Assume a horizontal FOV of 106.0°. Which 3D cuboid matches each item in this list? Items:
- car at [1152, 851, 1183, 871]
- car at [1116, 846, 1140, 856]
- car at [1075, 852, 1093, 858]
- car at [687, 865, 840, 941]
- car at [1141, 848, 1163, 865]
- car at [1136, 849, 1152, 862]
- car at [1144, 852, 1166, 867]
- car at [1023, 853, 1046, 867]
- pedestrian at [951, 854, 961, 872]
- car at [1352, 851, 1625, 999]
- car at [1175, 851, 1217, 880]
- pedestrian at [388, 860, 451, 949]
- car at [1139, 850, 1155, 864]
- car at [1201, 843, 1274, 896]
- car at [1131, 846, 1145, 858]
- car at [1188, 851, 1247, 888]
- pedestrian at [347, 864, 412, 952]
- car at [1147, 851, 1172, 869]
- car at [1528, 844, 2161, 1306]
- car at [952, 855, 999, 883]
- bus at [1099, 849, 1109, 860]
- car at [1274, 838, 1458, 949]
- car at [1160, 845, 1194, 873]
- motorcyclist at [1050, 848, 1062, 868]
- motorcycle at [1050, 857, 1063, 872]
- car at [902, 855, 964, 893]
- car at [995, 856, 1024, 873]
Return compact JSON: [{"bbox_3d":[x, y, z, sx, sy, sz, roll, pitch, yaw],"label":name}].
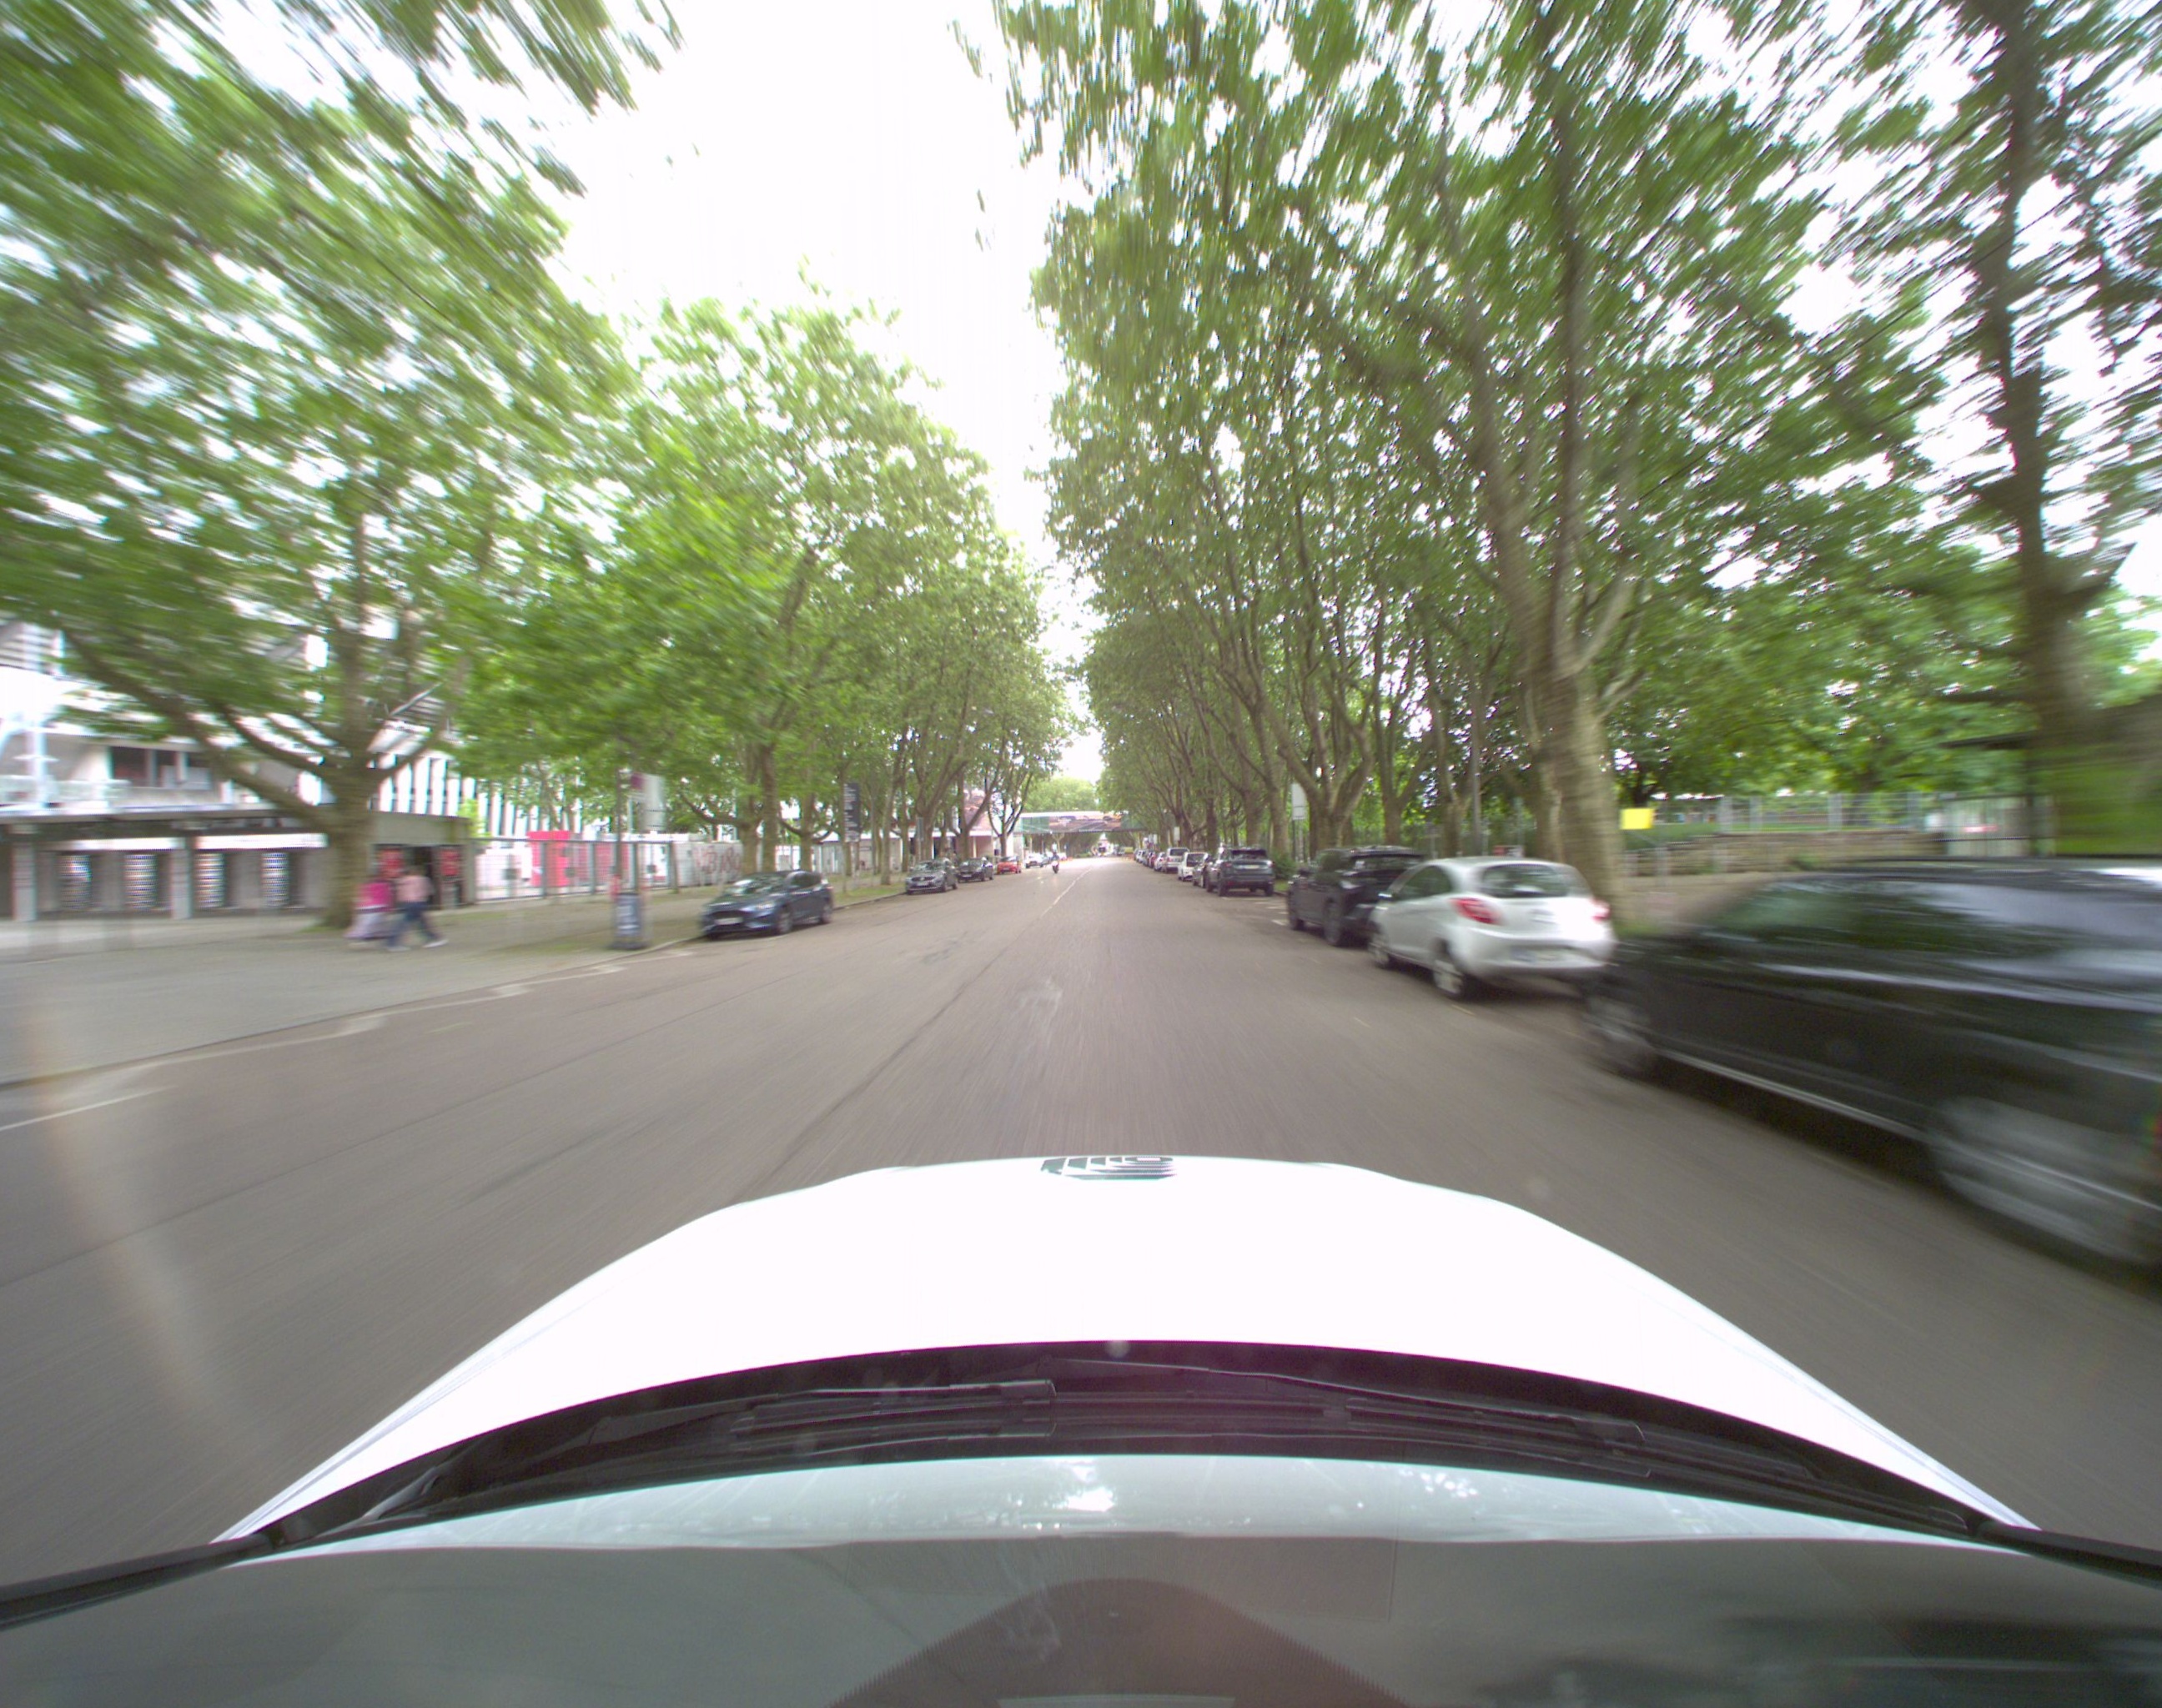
[{"bbox_3d":[6.399,0.500,60.343,1.870,1.427,4.587,-1,0,1],"label":"car"},{"bbox_3d":[13.537,-0.880,234.372,6.802,2.513,2.316,-2,0,-1],"label":"car"},{"bbox_3d":[0.787,0.373,224.643,4.681,1.584,1.865,-1,0,2],"label":"car"},{"bbox_3d":[-7.486,1.081,19.739,1.718,1.486,4.577,-2,0,2],"label":"car"},{"bbox_3d":[7.426,0.308,85.166,1.974,1.680,4.732,-1,0,1],"label":"car"},{"bbox_3d":[8.255,0.237,107.578,1.907,1.618,4.751,-1,0,2],"label":"car"},{"bbox_3d":[7.046,0.510,78.270,1.869,1.427,4.482,-1,0,3],"label":"car"},{"bbox_3d":[-5.186,0.648,91.351,2.065,1.563,4.759,-2,0,2],"label":"car"},{"bbox_3d":[-11.317,0.834,73.776,0.588,1.620,0.794,-1,0,11],"label":"pedestrian"},{"bbox_3d":[4.645,0.694,9.914,1.609,1.441,3.713,1,0,3],"label":"car"},{"bbox_3d":[5.748,0.548,40.962,1.701,1.427,3.891,0,0,2],"label":"car"},{"bbox_3d":[-13.544,1.017,16.690,0.572,1.770,0.771,-1,0,16],"label":"pedestrian"},{"bbox_3d":[8.037,0.368,99.746,1.800,1.526,4.098,-1,0,2],"label":"car"},{"bbox_3d":[5.327,0.479,28.239,1.702,1.698,4.631,0,0,0],"label":"car"},{"bbox_3d":[8.694,-0.351,124.325,1.840,1.783,5.213,0,0,2],"label":"car"},{"bbox_3d":[5.632,0.604,34.007,1.702,1.415,4.360,-1,0,0],"label":"car"},{"bbox_3d":[-14.325,1.079,16.643,0.570,1.742,0.771,-1,0,16],"label":"pedestrian"},{"bbox_3d":[6.865,0.501,71.596,1.849,1.481,4.179,-1,0,2],"label":"car"},{"bbox_3d":[4.435,0.719,4.521,1.662,1.509,4.356,0,0,2],"label":"car"},{"bbox_3d":[-6.252,0.857,48.897,1.819,1.465,4.632,-3,0,4],"label":"car"},{"bbox_3d":[7.178,0.216,258.266,3.028,3.160,12.679,-3,0,1],"label":"bus"},{"bbox_3d":[4.937,0.604,14.848,1.771,1.673,4.638,-1,0,1],"label":"car"},{"bbox_3d":[6.414,0.312,54.679,1.895,1.738,4.508,-1,0,2],"label":"car"},{"bbox_3d":[-1.851,0.321,61.031,0.868,1.480,1.264,-1,0,-2],"label":"motorcyclist"},{"bbox_3d":[-1.828,0.761,61.023,0.871,1.079,3.051,-1,0,-1],"label":"motorcycle"},{"bbox_3d":[-6.759,0.886,37.654,1.871,1.527,4.153,-3,0,2],"label":"car"},{"bbox_3d":[-5.859,0.843,66.963,1.801,1.354,4.002,-2,0,2],"label":"car"}]
